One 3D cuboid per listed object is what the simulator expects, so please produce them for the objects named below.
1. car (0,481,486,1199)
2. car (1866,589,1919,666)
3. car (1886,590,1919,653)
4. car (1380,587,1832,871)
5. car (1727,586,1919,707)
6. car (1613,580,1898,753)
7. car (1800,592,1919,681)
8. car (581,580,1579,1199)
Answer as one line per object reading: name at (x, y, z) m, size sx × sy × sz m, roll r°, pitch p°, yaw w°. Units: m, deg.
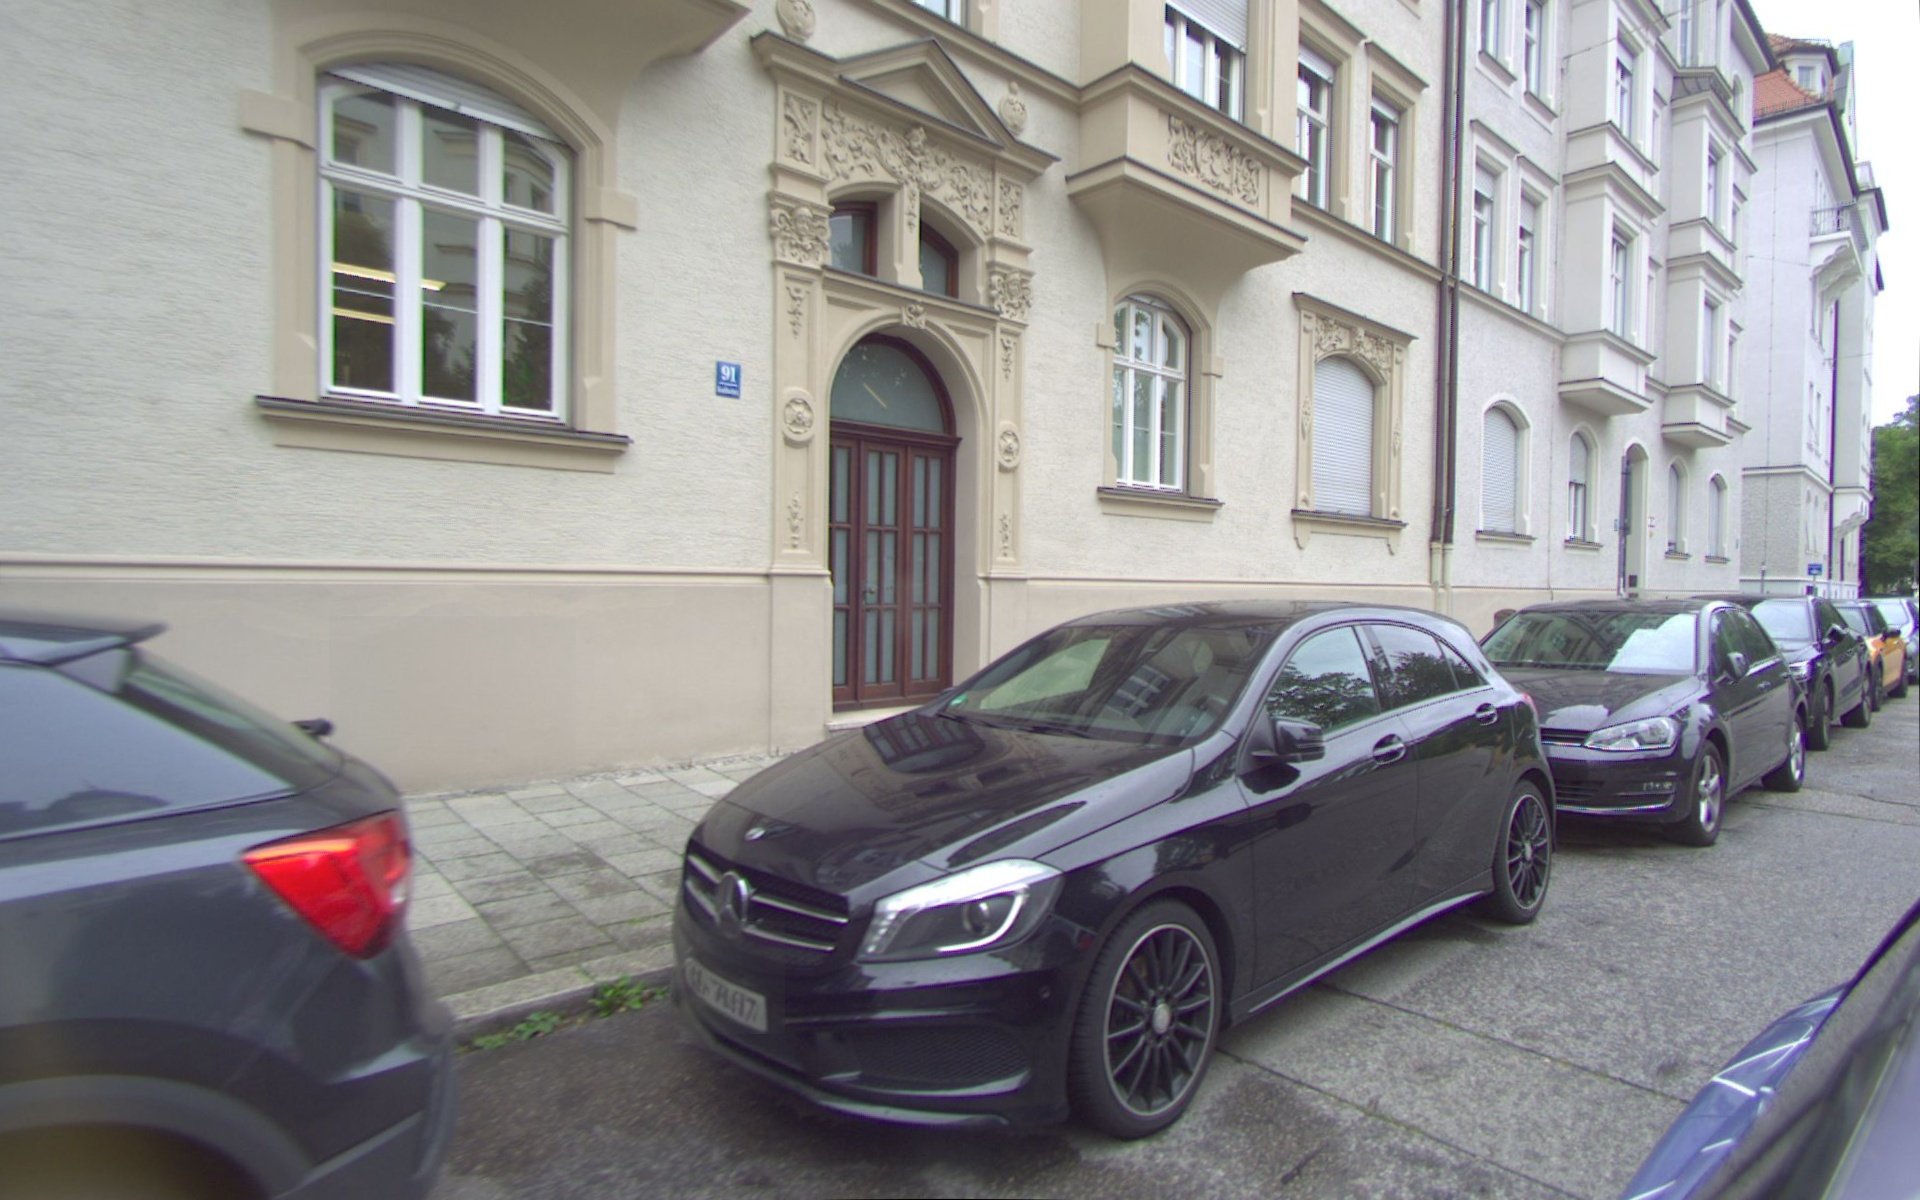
car at (-2.859, 0.618, 0.973) m, size 4.015 × 1.517 × 1.792 m, roll 0°, pitch -1°, yaw -45°
car at (20.215, 0.524, 21.096) m, size 4.018 × 1.489 × 1.712 m, roll -1°, pitch 1°, yaw -44°
car at (23.744, 0.481, 24.509) m, size 4.018 × 1.407 × 1.712 m, roll -1°, pitch 1°, yaw -44°
car at (4.721, 0.646, 7.173) m, size 3.930 × 1.435 × 1.645 m, roll -1°, pitch 2°, yaw -41°
car at (12.505, 0.557, 14.512) m, size 3.534 × 1.457 × 1.660 m, roll -1°, pitch 3°, yaw -40°
car at (8.758, 0.559, 11.033) m, size 3.889 × 1.535 × 1.746 m, roll -1°, pitch 2°, yaw -41°
car at (16.594, 0.573, 18.200) m, size 3.931 × 1.407 × 1.713 m, roll -1°, pitch 1°, yaw -41°
car at (0.786, 0.679, 4.051) m, size 3.952 × 1.415 × 1.745 m, roll -2°, pitch 1°, yaw -41°
